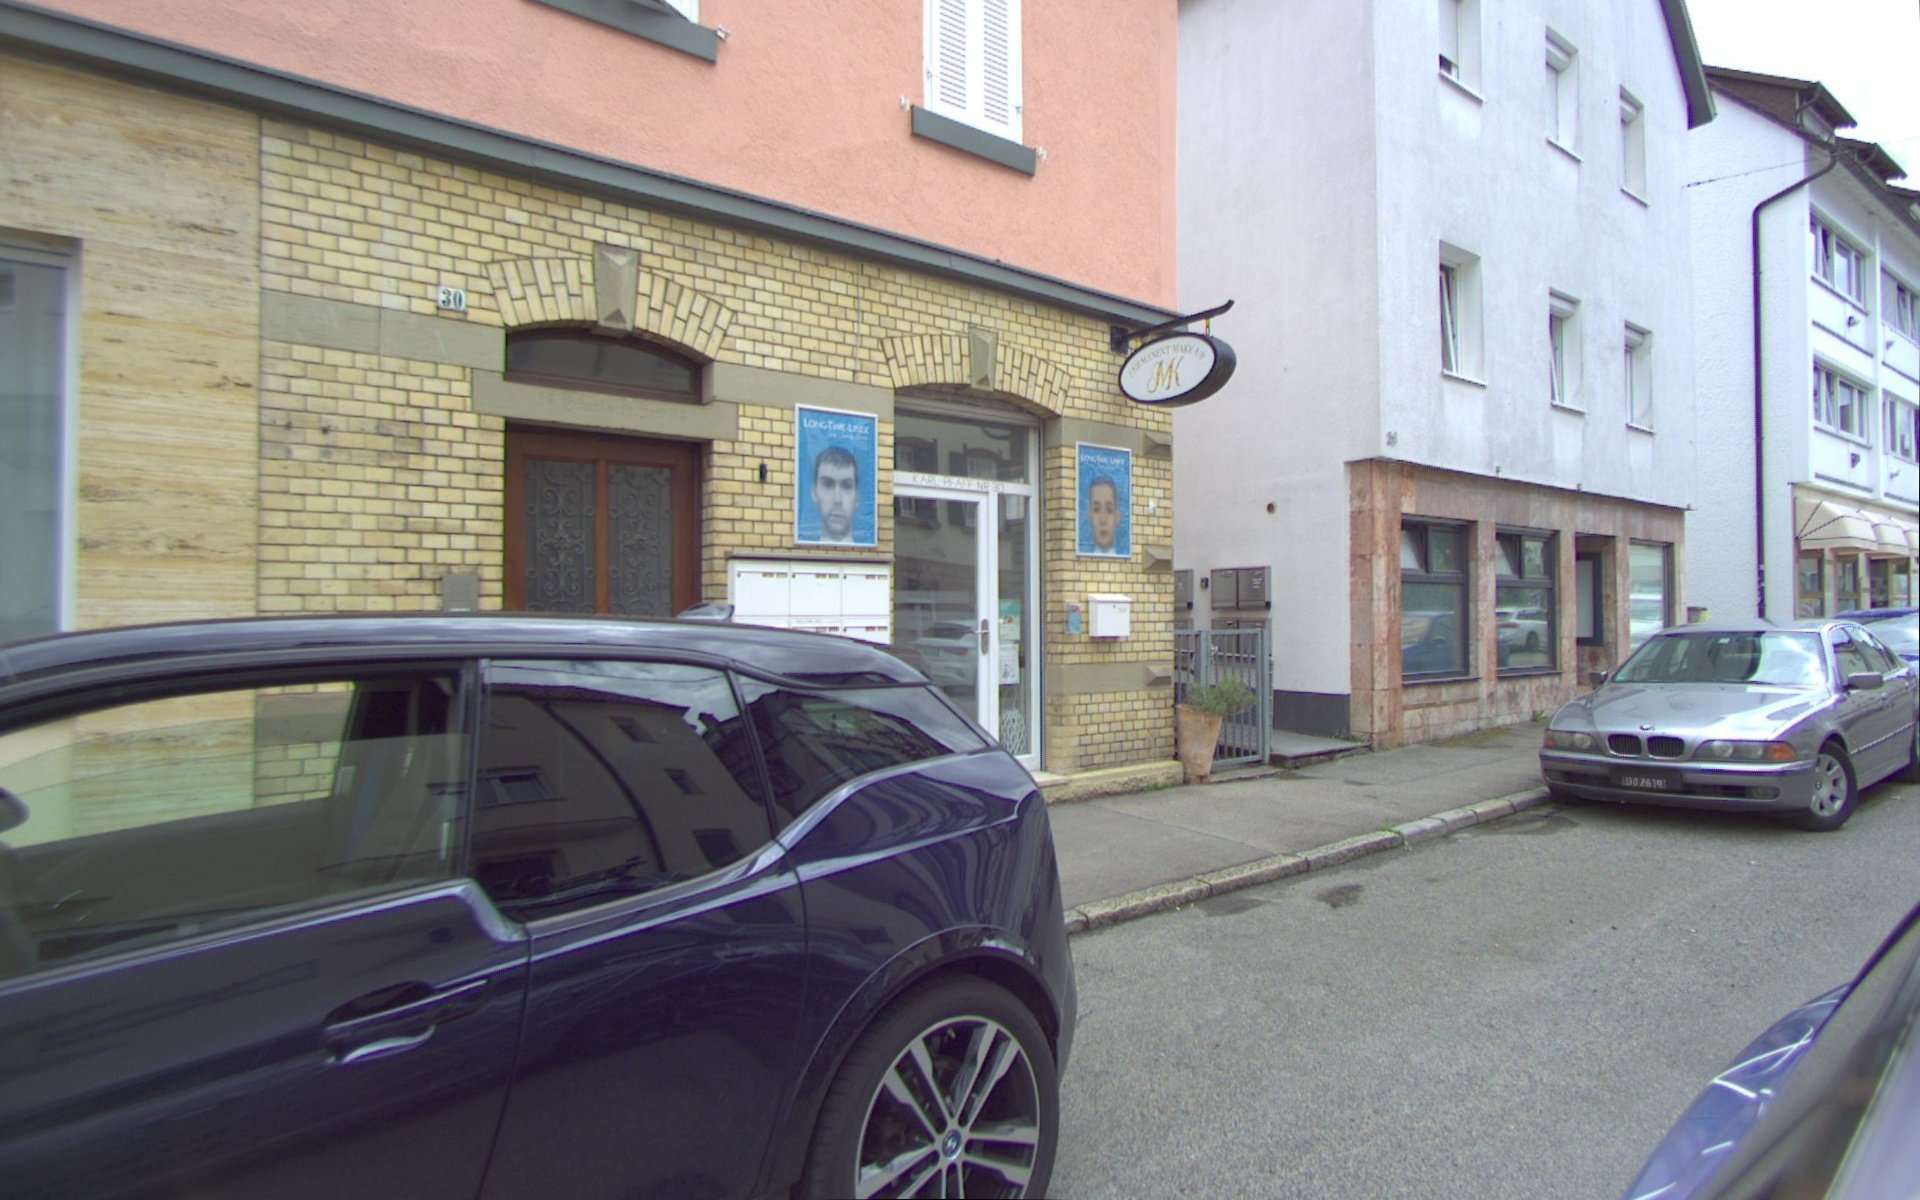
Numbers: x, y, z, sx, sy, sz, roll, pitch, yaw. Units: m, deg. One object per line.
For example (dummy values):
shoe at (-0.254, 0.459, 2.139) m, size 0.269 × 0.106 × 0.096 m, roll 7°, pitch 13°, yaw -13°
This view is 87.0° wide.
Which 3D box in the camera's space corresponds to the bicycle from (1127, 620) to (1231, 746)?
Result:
bicycle at (2.265, 0.826, 10.557) m, size 0.289 × 1.234 × 1.202 m, roll 1°, pitch -1°, yaw -33°

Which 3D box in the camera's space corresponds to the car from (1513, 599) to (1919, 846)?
car at (6.543, 0.790, 8.272) m, size 4.494 × 1.435 × 1.791 m, roll -1°, pitch -3°, yaw -37°

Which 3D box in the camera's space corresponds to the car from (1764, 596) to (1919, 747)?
car at (10.864, 0.703, 11.447) m, size 3.855 × 1.451 × 1.756 m, roll -1°, pitch -1°, yaw -36°

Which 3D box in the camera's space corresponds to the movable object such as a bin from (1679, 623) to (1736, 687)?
movable object such as a bin at (11.689, 0.841, 15.821) m, size 0.512 × 0.941 × 0.570 m, roll 0°, pitch 1°, yaw -35°

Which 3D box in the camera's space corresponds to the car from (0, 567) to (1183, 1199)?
car at (-1.541, 0.778, 2.108) m, size 3.955 × 1.563 × 1.821 m, roll 0°, pitch -3°, yaw -39°

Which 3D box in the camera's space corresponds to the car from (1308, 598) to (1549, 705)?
car at (7.603, 0.771, 16.326) m, size 3.935 × 1.451 × 1.649 m, roll -2°, pitch -1°, yaw -33°
